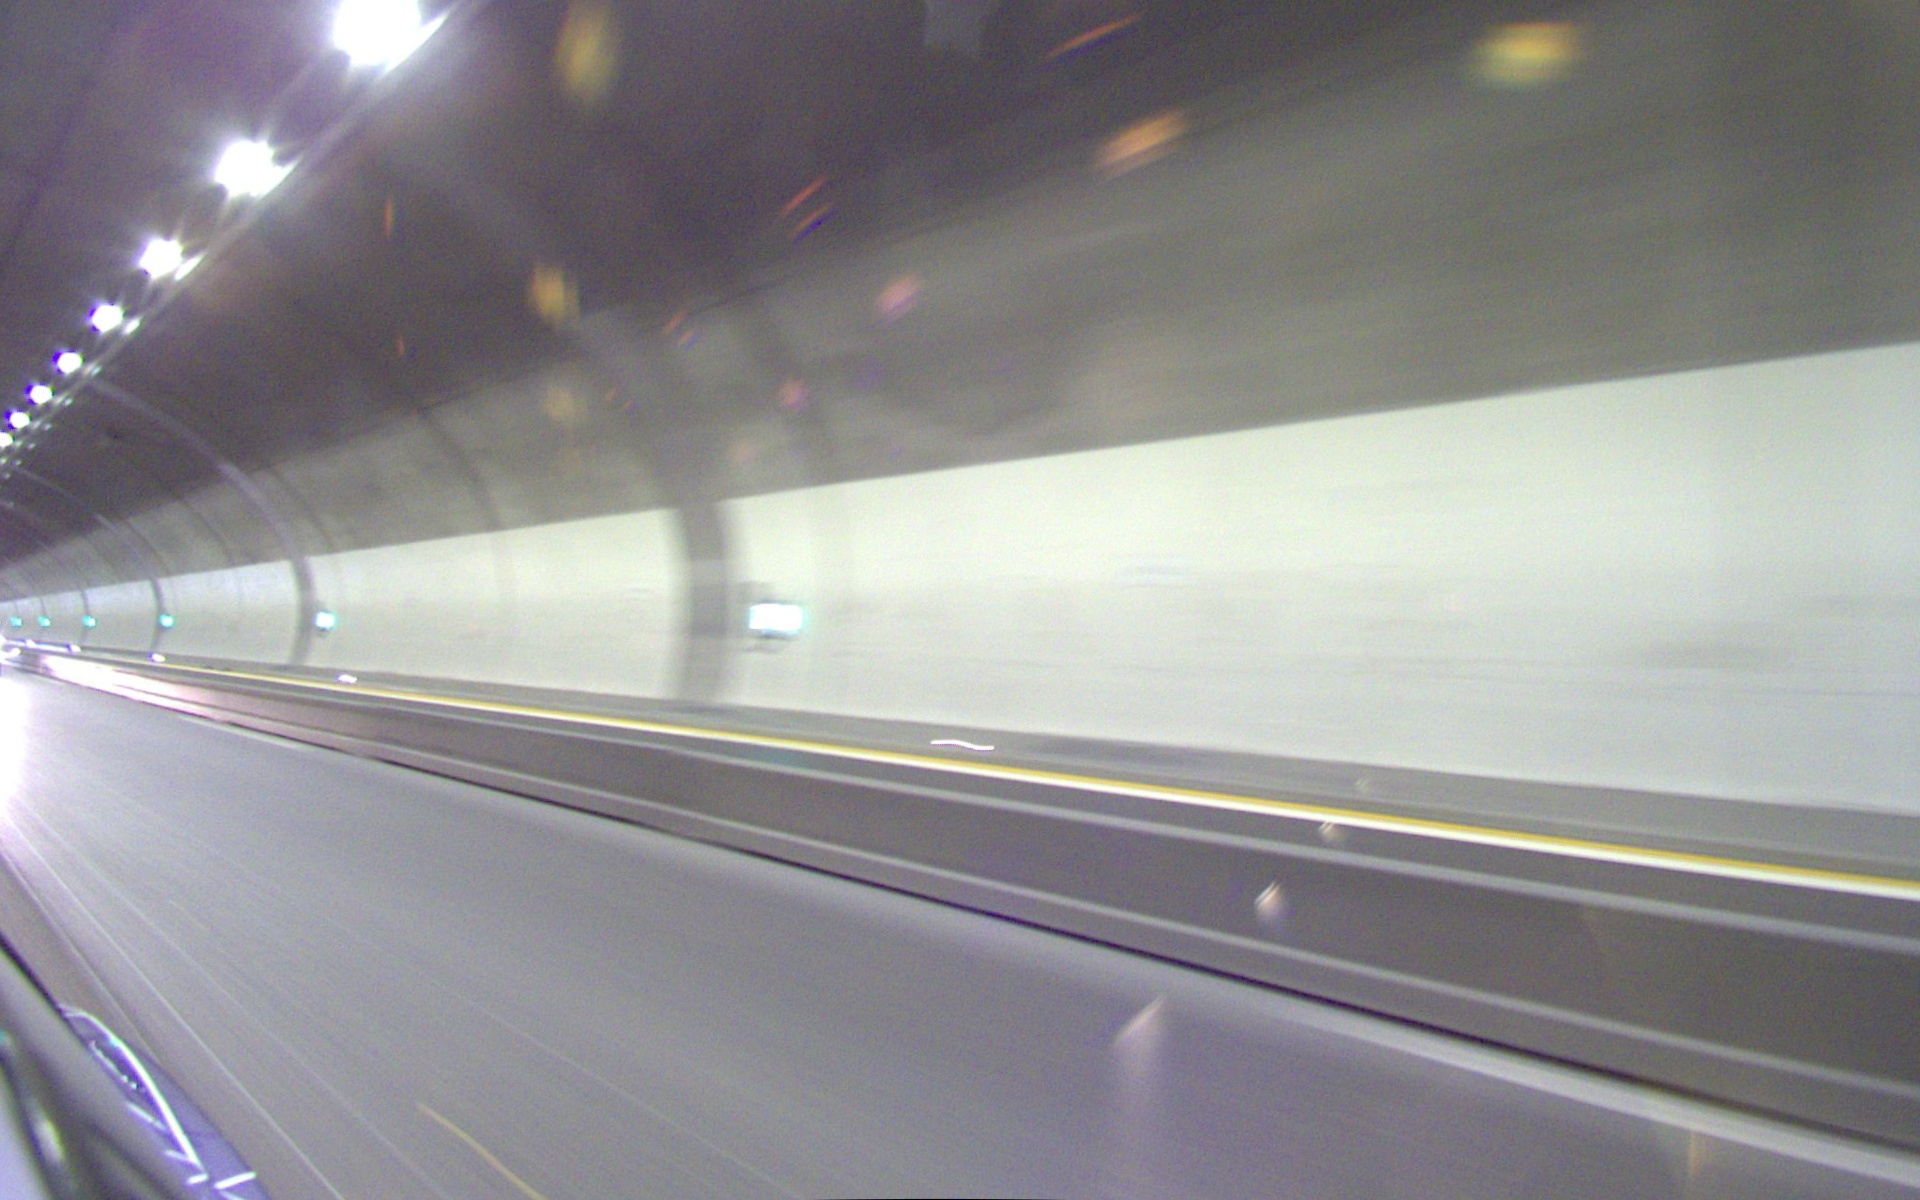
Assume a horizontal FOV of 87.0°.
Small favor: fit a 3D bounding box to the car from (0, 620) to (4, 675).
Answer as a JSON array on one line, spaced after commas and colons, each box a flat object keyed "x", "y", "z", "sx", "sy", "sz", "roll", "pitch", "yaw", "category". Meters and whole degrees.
[{"x": -28.340, "y": 1.333, "z": 28.270, "sx": 4.940, "sy": 1.496, "sz": 1.884, "roll": -2, "pitch": -2, "yaw": 40, "category": "car"}]
